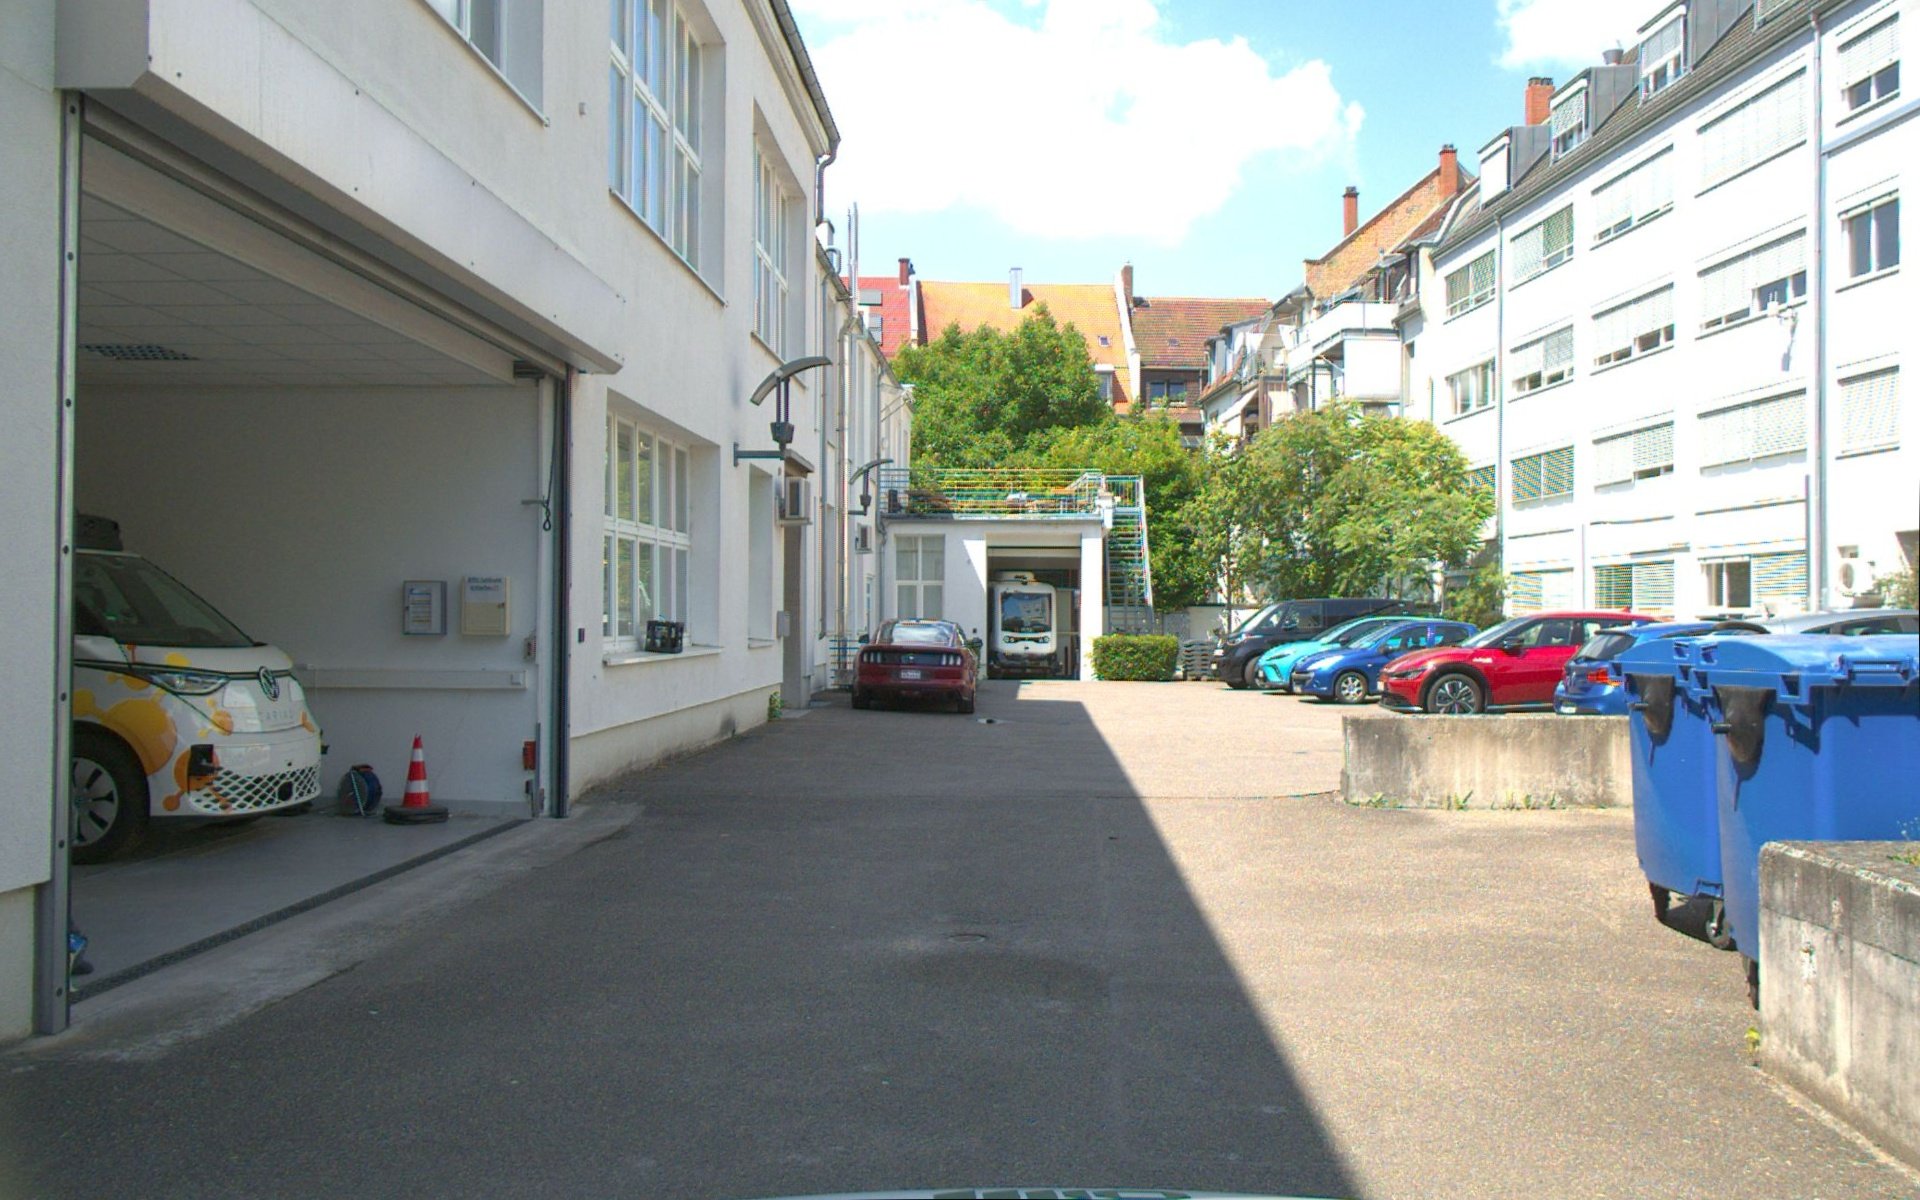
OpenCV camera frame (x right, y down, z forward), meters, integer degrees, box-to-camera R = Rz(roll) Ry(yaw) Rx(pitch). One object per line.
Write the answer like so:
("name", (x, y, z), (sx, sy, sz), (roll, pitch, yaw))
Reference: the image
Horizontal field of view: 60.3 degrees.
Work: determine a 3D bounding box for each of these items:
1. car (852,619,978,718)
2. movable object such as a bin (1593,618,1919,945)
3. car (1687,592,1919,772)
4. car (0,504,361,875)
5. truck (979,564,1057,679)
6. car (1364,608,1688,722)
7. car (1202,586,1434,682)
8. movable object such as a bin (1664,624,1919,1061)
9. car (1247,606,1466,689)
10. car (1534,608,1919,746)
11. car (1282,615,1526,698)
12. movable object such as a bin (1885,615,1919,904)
("car", (-0.635, 1.019, 26.156), (1.761, 1.414, 4.001), (0, 0, 2))
("movable object such as a bin", (3.675, 0.763, 7.487), (1.168, 1.350, 1.160), (-1, -1, 0))
("car", (8.852, 0.682, 14.784), (3.905, 1.504, 1.804), (-1, -1, 1))
("car", (-6.335, 0.477, 10.353), (4.386, 2.060, 1.981), (1, 0, 3))
("truck", (1.518, 0.579, 45.108), (1.752, 2.989, 4.650), (0, -1, -3))
("car", (7.829, 0.881, 23.140), (3.905, 1.504, 1.804), (-1, -1, 1))
("car", (7.672, 0.722, 35.823), (4.581, 1.992, 2.077), (-1, -1, 1))
("movable object such as a bin", (3.322, 0.766, 5.736), (1.310, 1.350, 1.161), (-1, -1, 5))
("car", (7.797, 0.926, 32.772), (3.905, 1.561, 1.804), (-1, -1, 1))
("car", (8.618, 0.813, 18.315), (3.905, 1.414, 1.804), (-1, -1, 1))
("car", (7.930, 0.993, 29.783), (3.905, 1.414, 1.804), (-1, -1, 1))
("movable object such as a bin", (5.081, 0.741, 7.431), (1.191, 1.350, 1.160), (-1, -1, 0))
